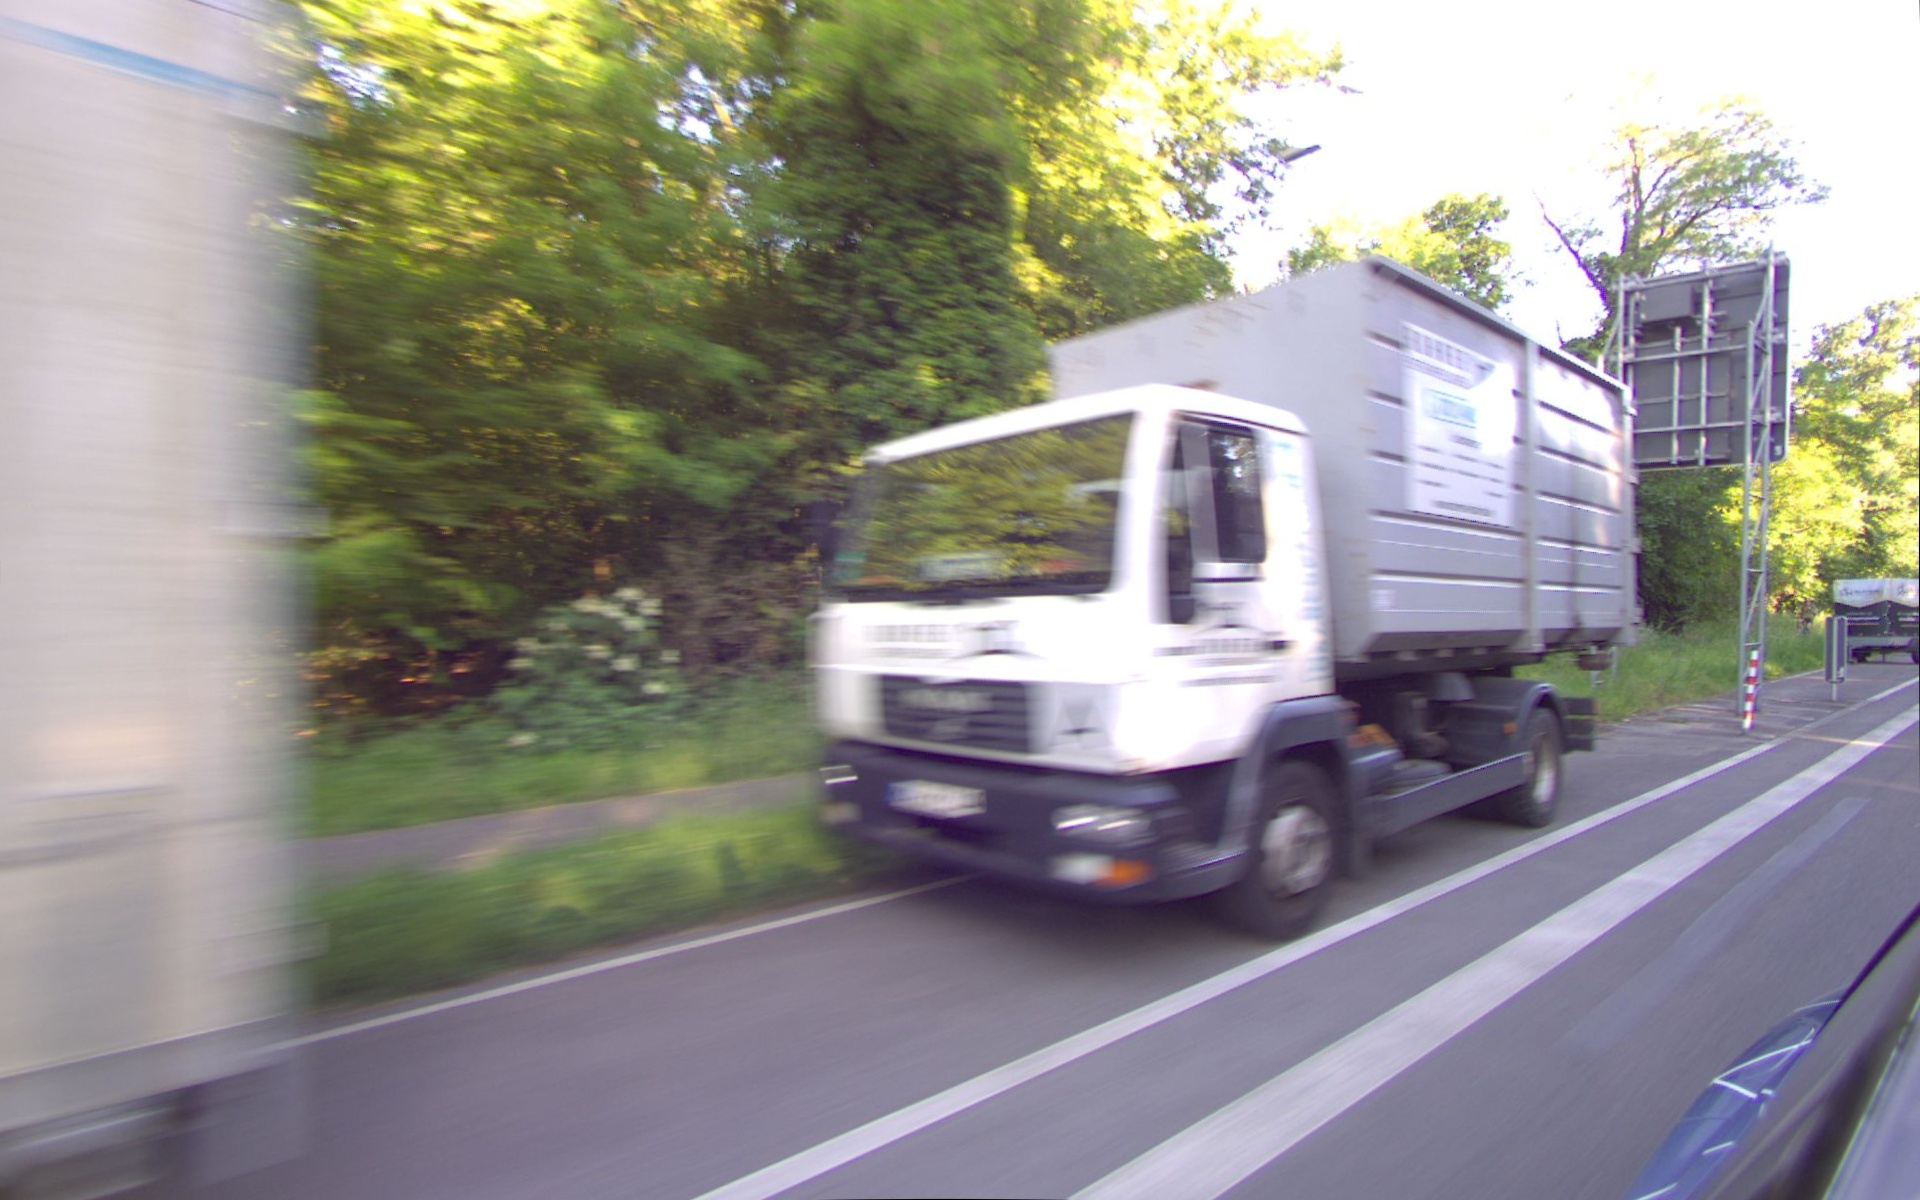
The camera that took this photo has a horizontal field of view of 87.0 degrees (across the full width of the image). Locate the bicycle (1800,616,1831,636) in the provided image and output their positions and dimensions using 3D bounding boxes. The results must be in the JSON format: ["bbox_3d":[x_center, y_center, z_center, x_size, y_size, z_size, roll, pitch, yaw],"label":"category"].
[{"bbox_3d":[31.474,0.944,37.233,1.962,0.701,0.592,0,1,-41],"label":"bicycle"}]

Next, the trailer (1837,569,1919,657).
[{"bbox_3d":[24.127,0.307,25.880,2.346,2.139,1.623,0,0,-20],"label":"trailer"}]

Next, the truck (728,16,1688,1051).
[{"bbox_3d":[2.241,-0.253,6.582,6.983,3.409,2.509,0,0,-41],"label":"truck"}]

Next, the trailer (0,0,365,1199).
[{"bbox_3d":[-3.904,0.033,1.309,5.115,2.881,2.277,0,0,-40],"label":"trailer"}]

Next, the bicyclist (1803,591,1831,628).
[{"bbox_3d":[31.560,0.331,37.254,1.155,1.341,0.611,0,0,-41],"label":"bicyclist"}]
